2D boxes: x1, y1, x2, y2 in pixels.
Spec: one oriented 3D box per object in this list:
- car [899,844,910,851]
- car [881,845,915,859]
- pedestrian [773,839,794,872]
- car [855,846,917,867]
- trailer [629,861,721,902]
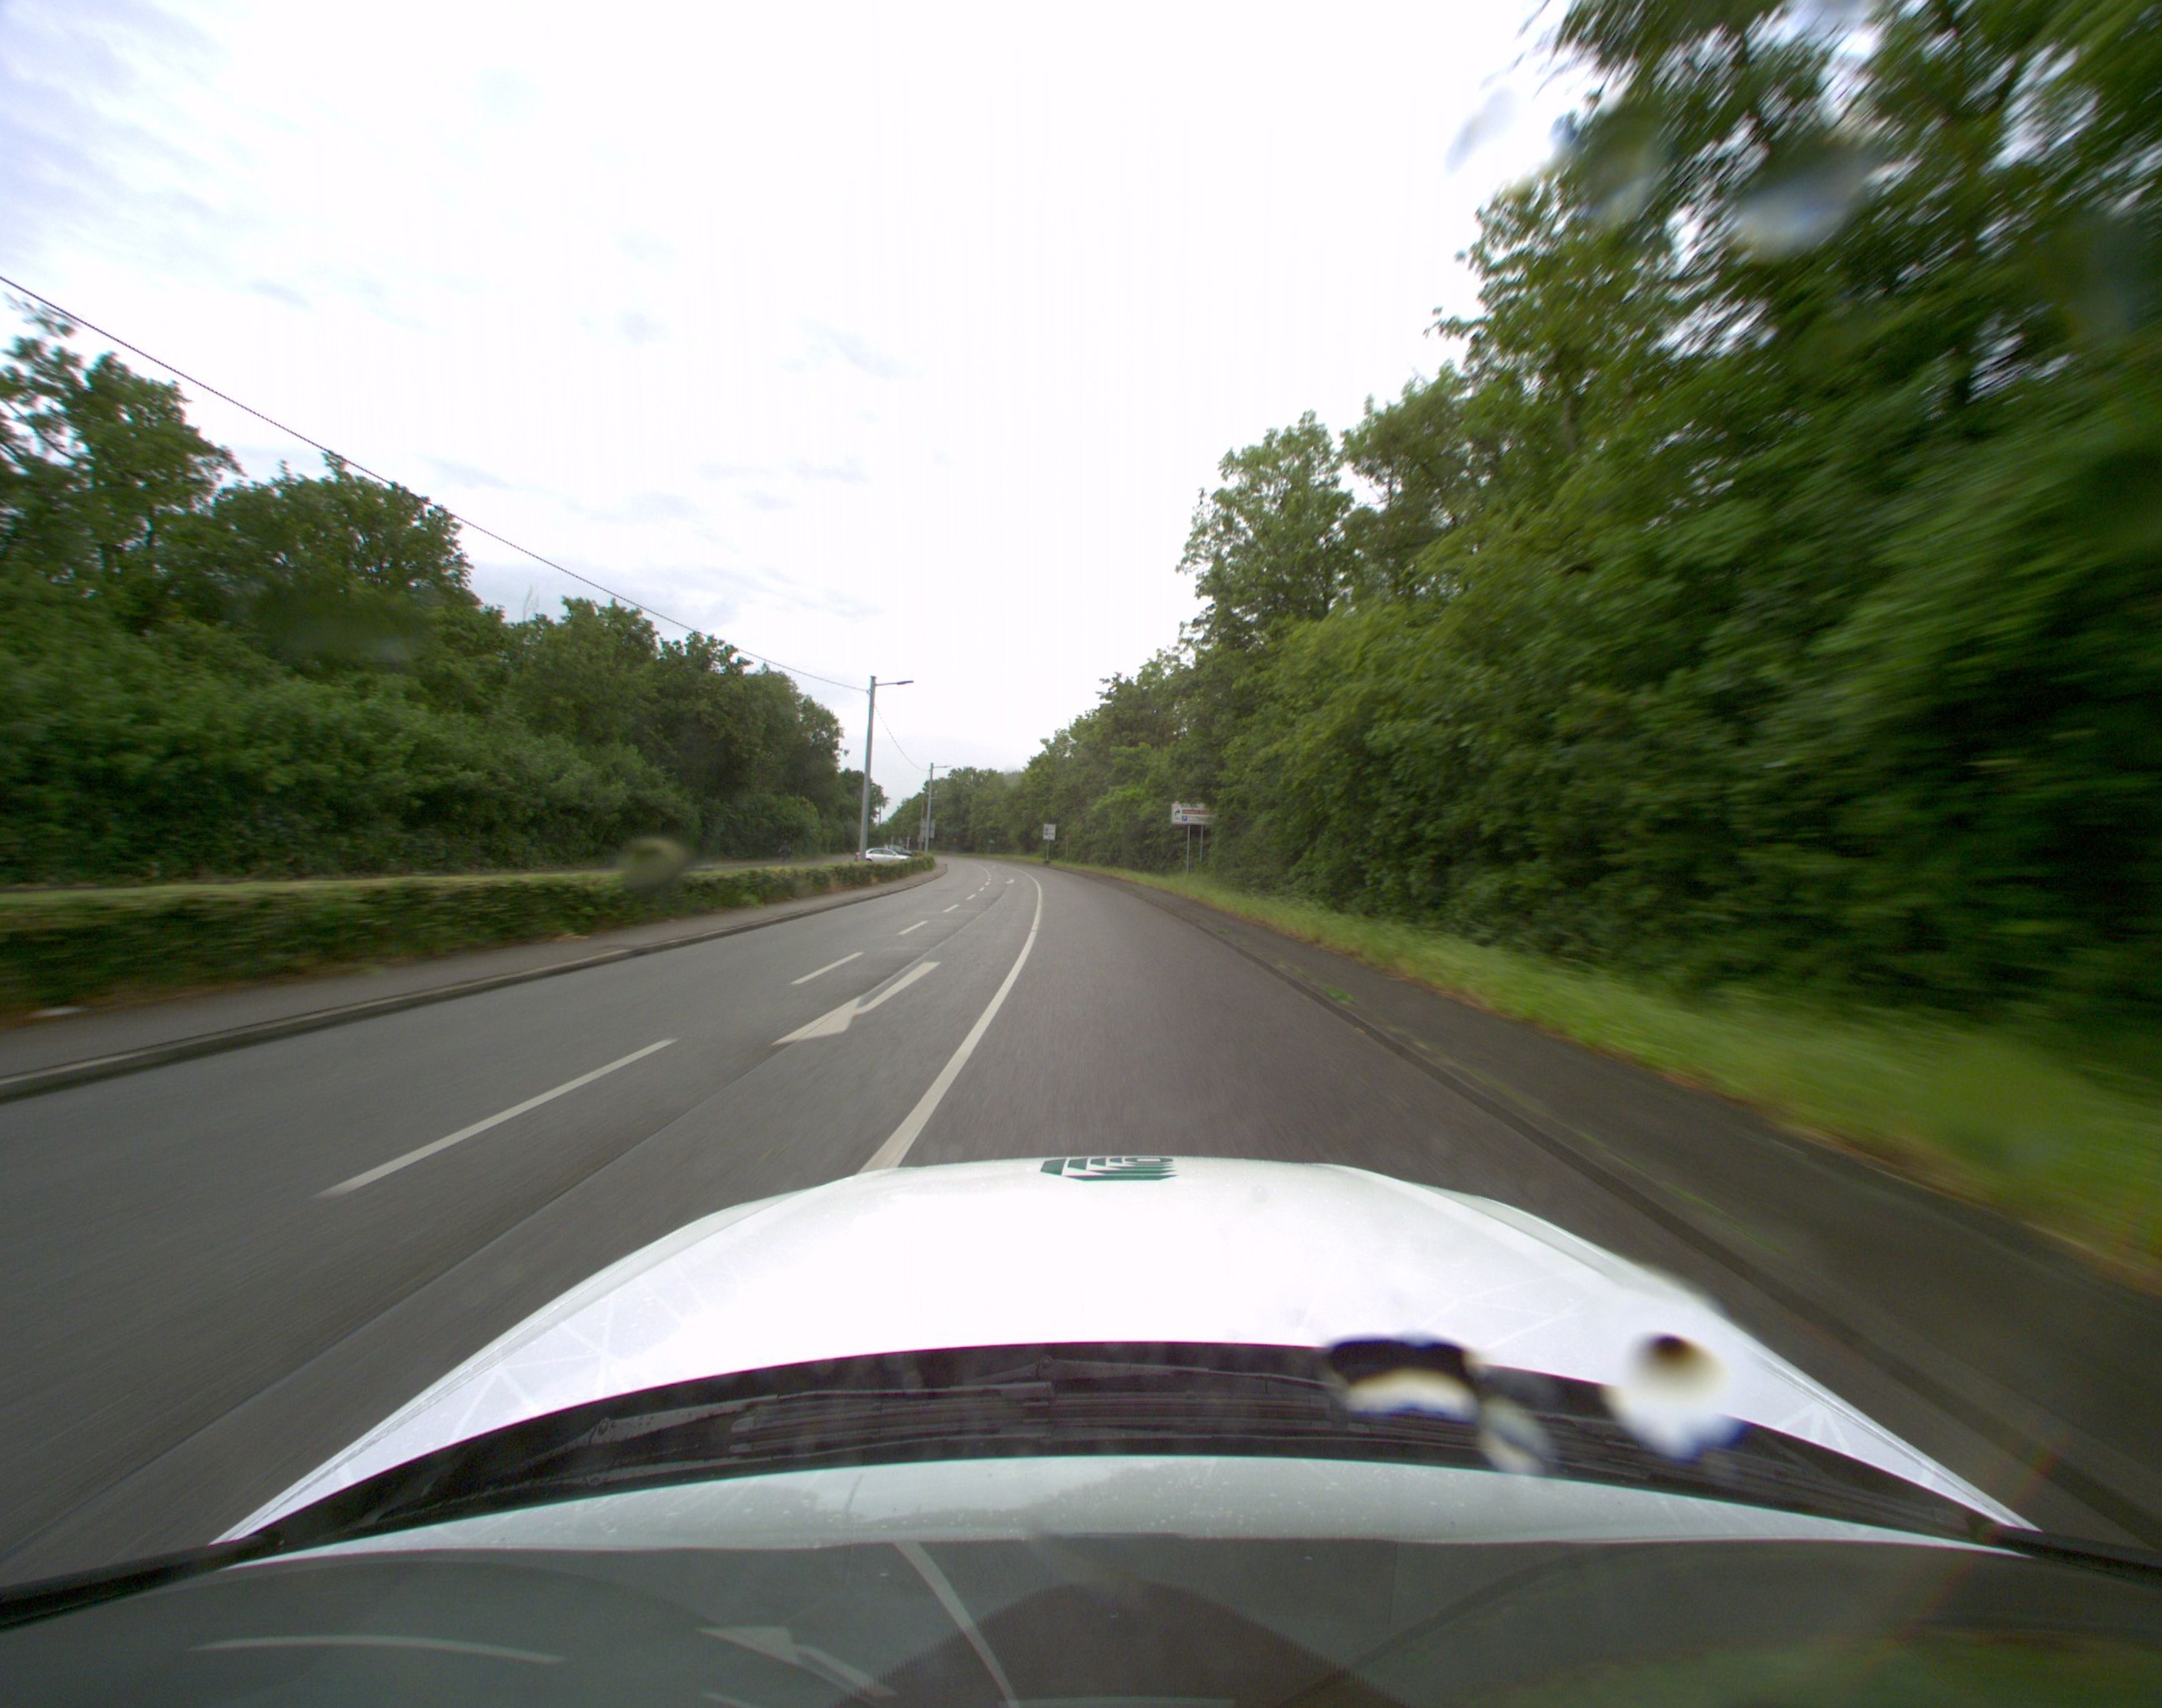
[{"bbox_3d":[-39.454,-1.486,181.870,1.941,1.498,4.290,1,0,-19],"label":"car"},{"bbox_3d":[-24.313,-0.259,108.213,4.293,1.708,1.992,1,0,-11],"label":"car"},{"bbox_3d":[-16.522,0.100,45.246,0.815,1.797,1.134,1,0,-4],"label":"pedestrian"},{"bbox_3d":[-15.061,0.212,62.966,4.582,1.506,1.990,1,0,-14],"label":"car"},{"bbox_3d":[-10.771,0.724,21.680,1.798,1.034,1.331,1,0,-6],"label":"trailer"}]
